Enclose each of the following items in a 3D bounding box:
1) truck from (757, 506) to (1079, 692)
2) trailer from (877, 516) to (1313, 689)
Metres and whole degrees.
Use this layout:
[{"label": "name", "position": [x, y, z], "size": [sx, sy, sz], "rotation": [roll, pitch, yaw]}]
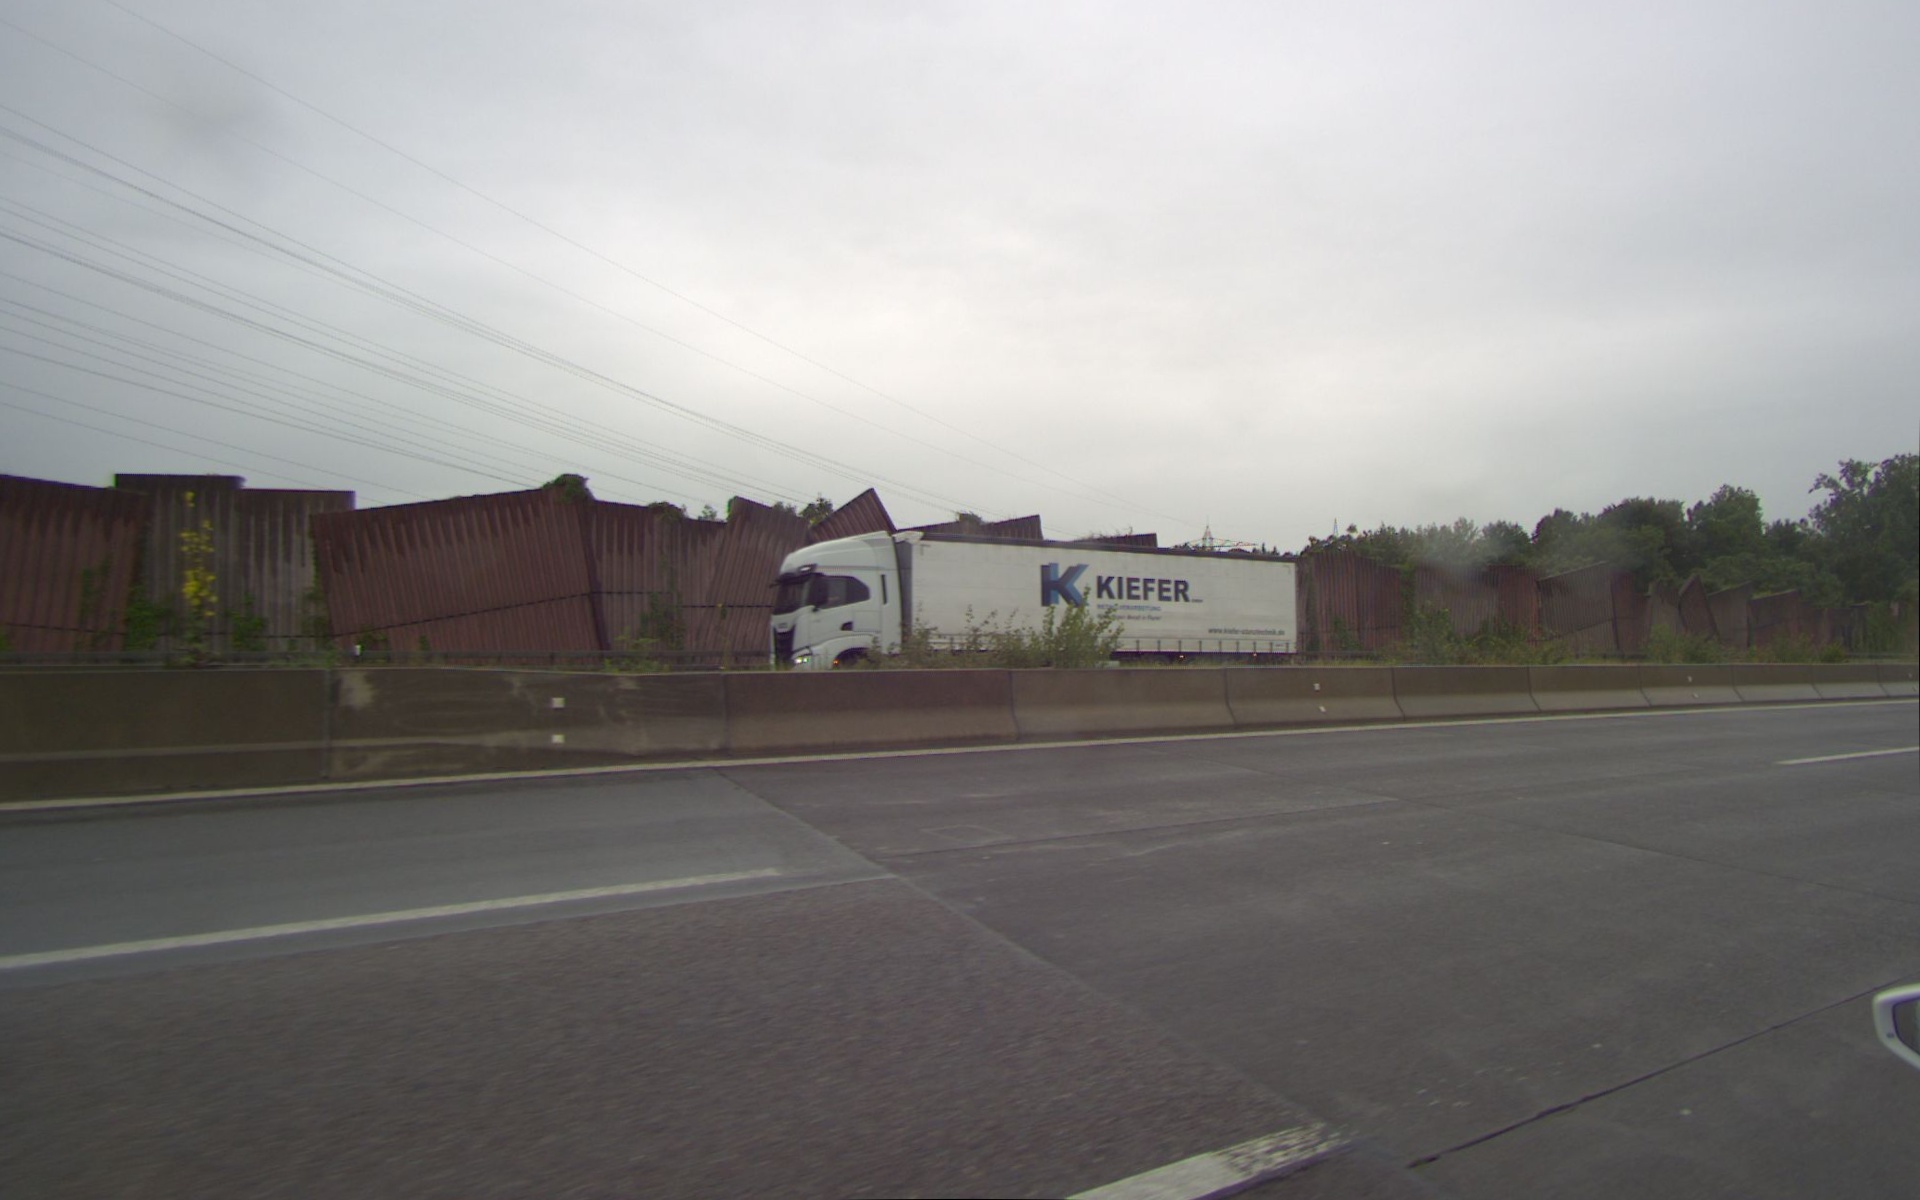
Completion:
[{"label": "truck", "position": [-0.995, 0.052, 26.169], "size": [7.793, 4.242, 3.042], "rotation": [2, 0, -30]}, {"label": "trailer", "position": [4.347, 0.203, 29.207], "size": [13.407, 4.242, 3.042], "rotation": [2, 0, -30]}]
